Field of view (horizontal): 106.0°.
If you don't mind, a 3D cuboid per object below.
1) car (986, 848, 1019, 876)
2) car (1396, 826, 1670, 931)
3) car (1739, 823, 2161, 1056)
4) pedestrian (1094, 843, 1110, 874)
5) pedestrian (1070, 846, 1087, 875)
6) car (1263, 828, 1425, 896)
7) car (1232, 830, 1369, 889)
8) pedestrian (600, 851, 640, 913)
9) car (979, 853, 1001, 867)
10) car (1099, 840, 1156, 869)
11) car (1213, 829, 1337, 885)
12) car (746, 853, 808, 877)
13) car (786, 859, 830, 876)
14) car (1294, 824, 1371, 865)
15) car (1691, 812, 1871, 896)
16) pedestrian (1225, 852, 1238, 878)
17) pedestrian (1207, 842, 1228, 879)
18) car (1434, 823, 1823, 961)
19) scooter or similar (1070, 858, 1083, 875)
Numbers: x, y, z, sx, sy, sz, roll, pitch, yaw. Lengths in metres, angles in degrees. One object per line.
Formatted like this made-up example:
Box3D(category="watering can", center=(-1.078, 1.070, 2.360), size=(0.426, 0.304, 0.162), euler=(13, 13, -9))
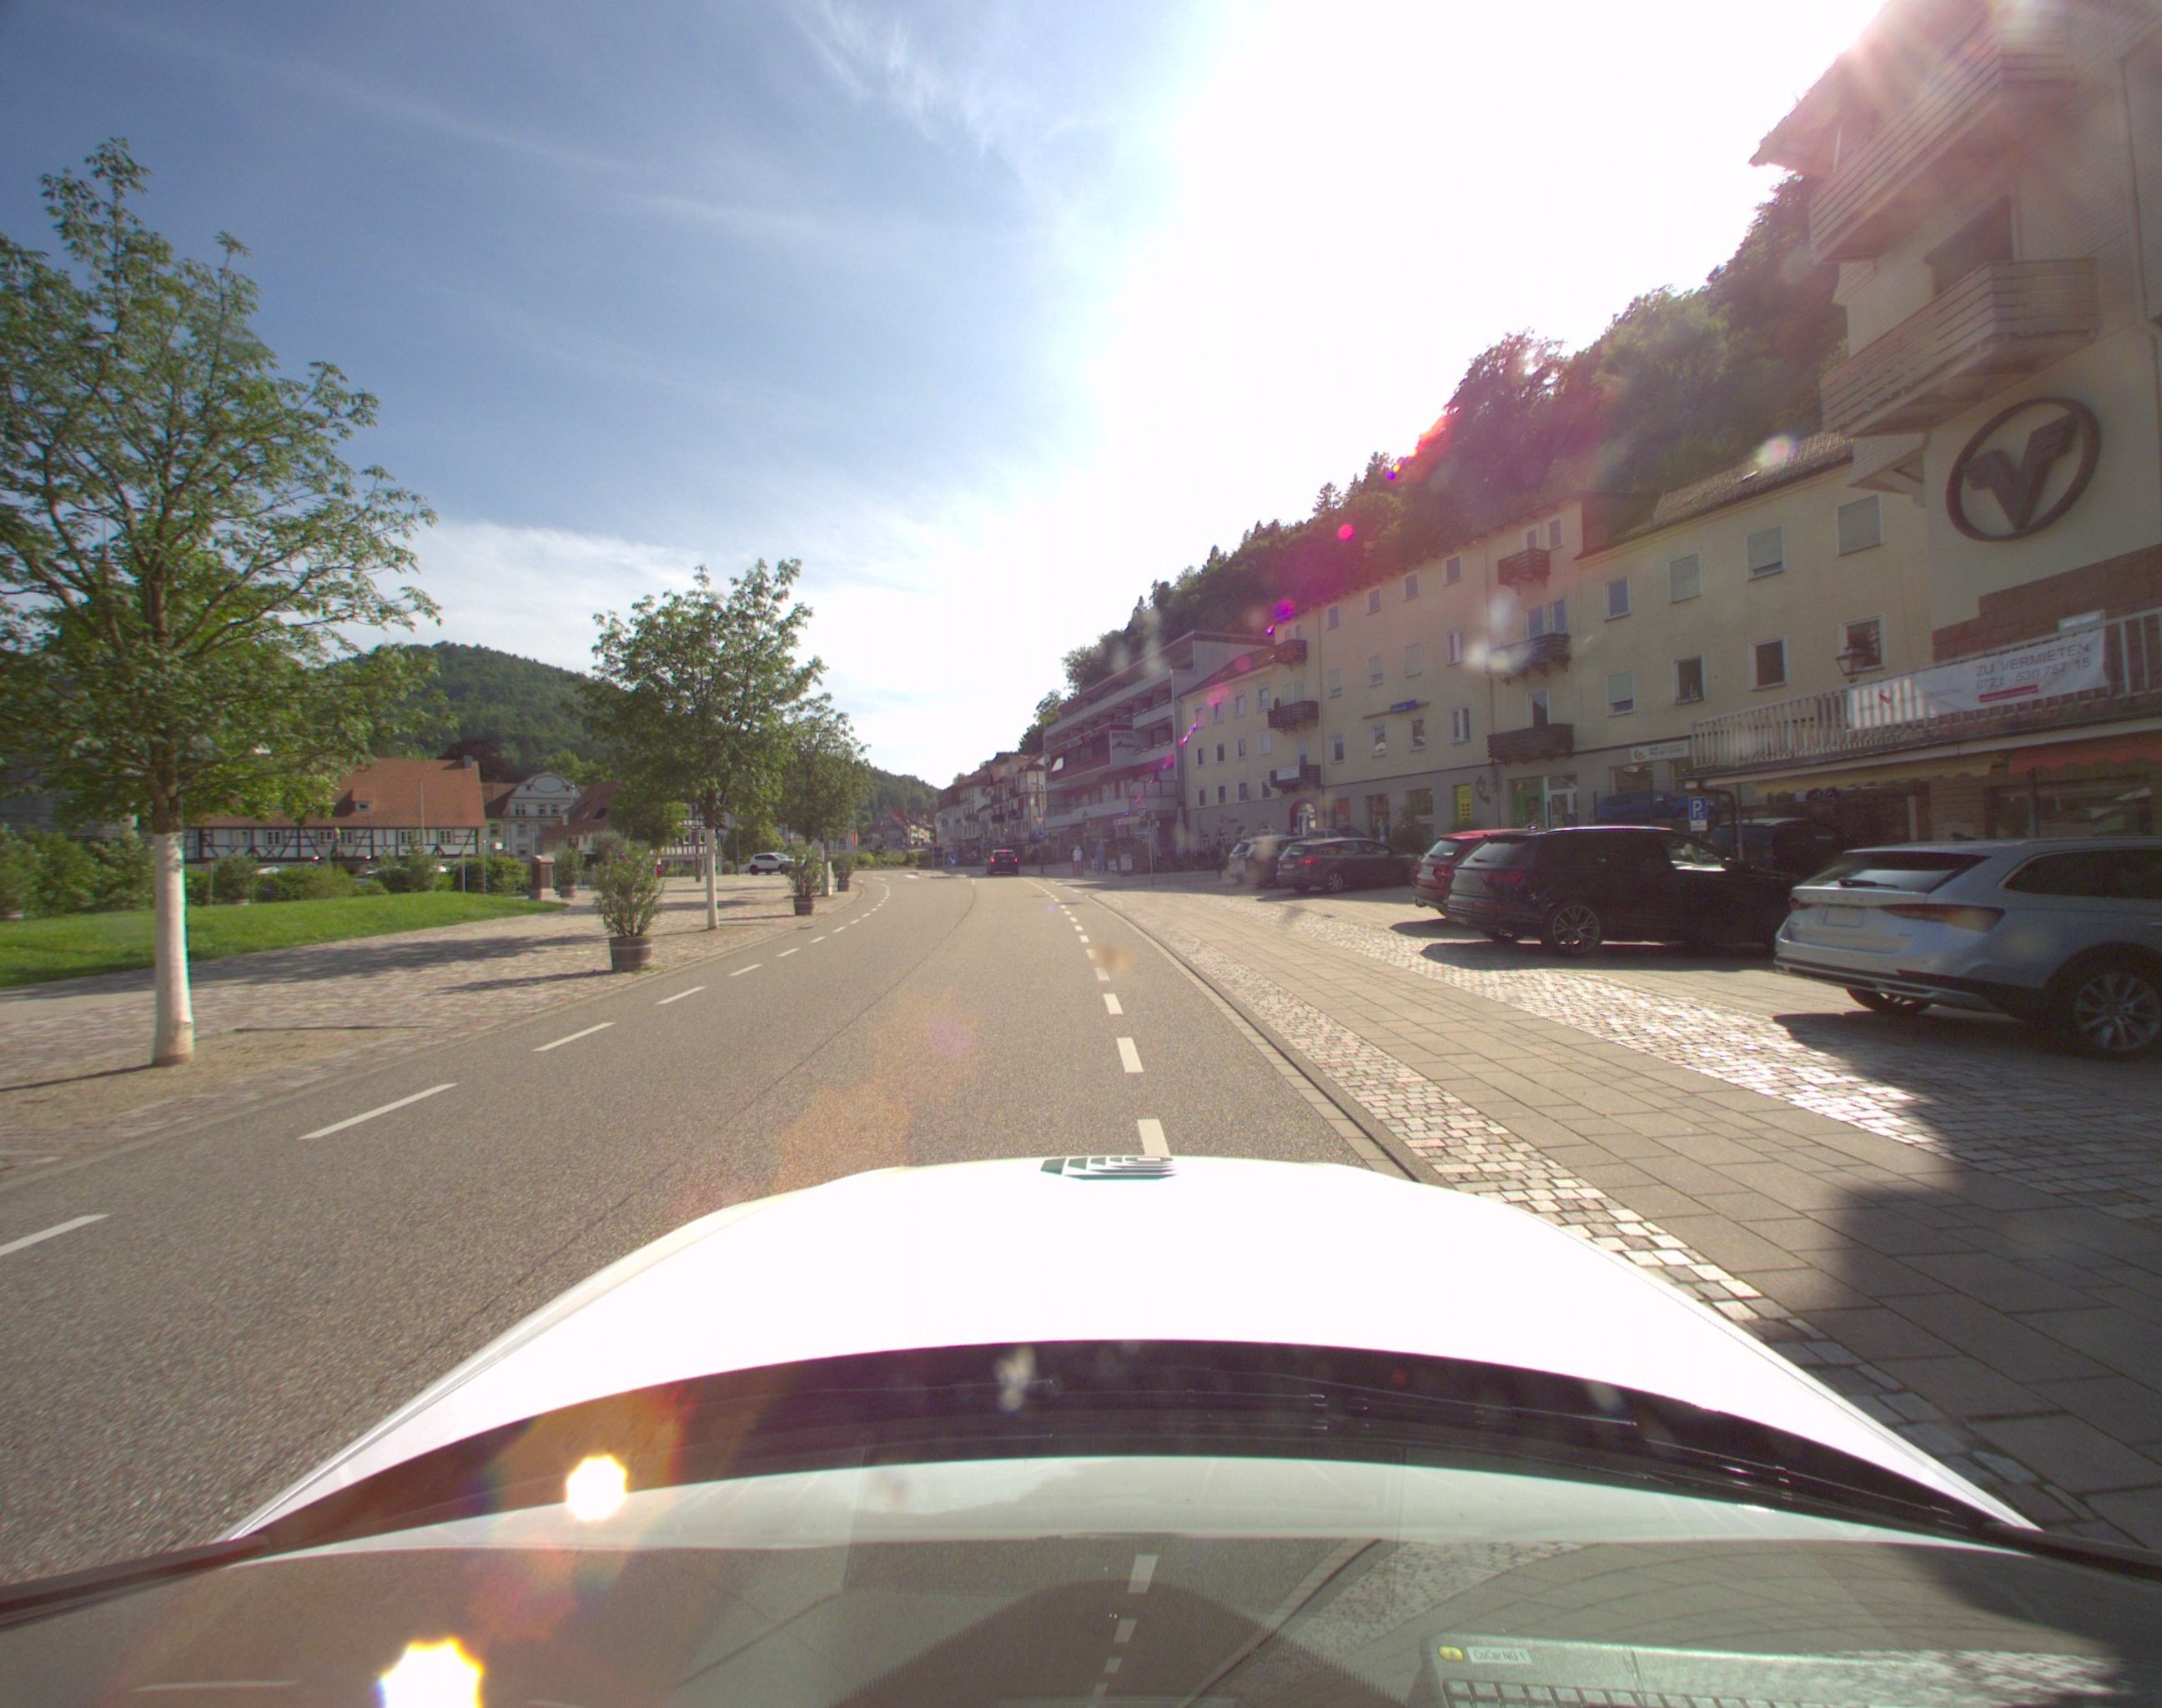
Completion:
Box3D(category="car", center=(-4.958, 0.459, 51.280), size=(1.727, 1.574, 3.740), euler=(-2, 1, -10))
Box3D(category="car", center=(7.896, 0.379, 14.552), size=(3.891, 1.700, 1.775), euler=(1, 1, 5))
Box3D(category="car", center=(7.801, 0.598, 6.000), size=(4.333, 1.461, 1.776), euler=(1, -1, 7))
Box3D(category="pedestrian", center=(1.172, 0.248, 45.322), size=(0.670, 1.728, 0.703), euler=(-2, 0, -18))
Box3D(category="pedestrian", center=(-0.152, 0.368, 45.934), size=(0.759, 1.594, 0.624), euler=(-2, 0, -18))
Box3D(category="car", center=(7.416, 0.198, 23.062), size=(4.018, 1.516, 1.763), euler=(-5, 2, -16))
Box3D(category="car", center=(7.092, 0.147, 26.396), size=(3.869, 1.549, 1.763), euler=(-5, 2, -16))
Box3D(category="pedestrian", center=(-13.817, 0.826, 24.411), size=(0.869, 1.815, 0.687), euler=(-2, 0, -17))
Box3D(category="car", center=(-10.603, 0.716, 94.533), size=(1.682, 1.620, 3.973), euler=(-1, 0, -20))
Box3D(category="car", center=(2.834, 0.039, 49.861), size=(3.170, 1.663, 1.586), euler=(-2, 0, -16))
Box3D(category="car", center=(6.932, 0.083, 29.202), size=(3.869, 1.612, 1.763), euler=(-5, 2, -16))
Box3D(category="car", center=(-22.799, 0.819, 61.040), size=(4.136, 1.616, 1.698), euler=(-2, 0, 18))
Box3D(category="car", center=(-25.260, 1.207, 75.511), size=(1.671, 1.420, 4.203), euler=(-2, 0, 18))
Box3D(category="car", center=(13.113, -0.525, 42.611), size=(1.867, 2.013, 3.647), euler=(-1, 1, -26))
Box3D(category="car", center=(15.604, -0.050, 18.132), size=(3.933, 1.609, 1.756), euler=(-3, 1, -29))
Box3D(category="pedestrian", center=(6.153, 0.439, 33.342), size=(0.415, 1.002, 0.532), euler=(-4, 0, 5))
Box3D(category="pedestrian", center=(5.584, 0.264, 33.396), size=(0.731, 1.442, 0.634), euler=(-4, 0, 5))
Box3D(category="car", center=(7.231, 0.458, 11.125), size=(4.064, 1.666, 1.775), euler=(1, 0, 5))
Box3D(category="scooter or similar", center=(-0.263, 0.693, 46.017), size=(0.598, 0.950, 0.471), euler=(-2, 0, -18))
